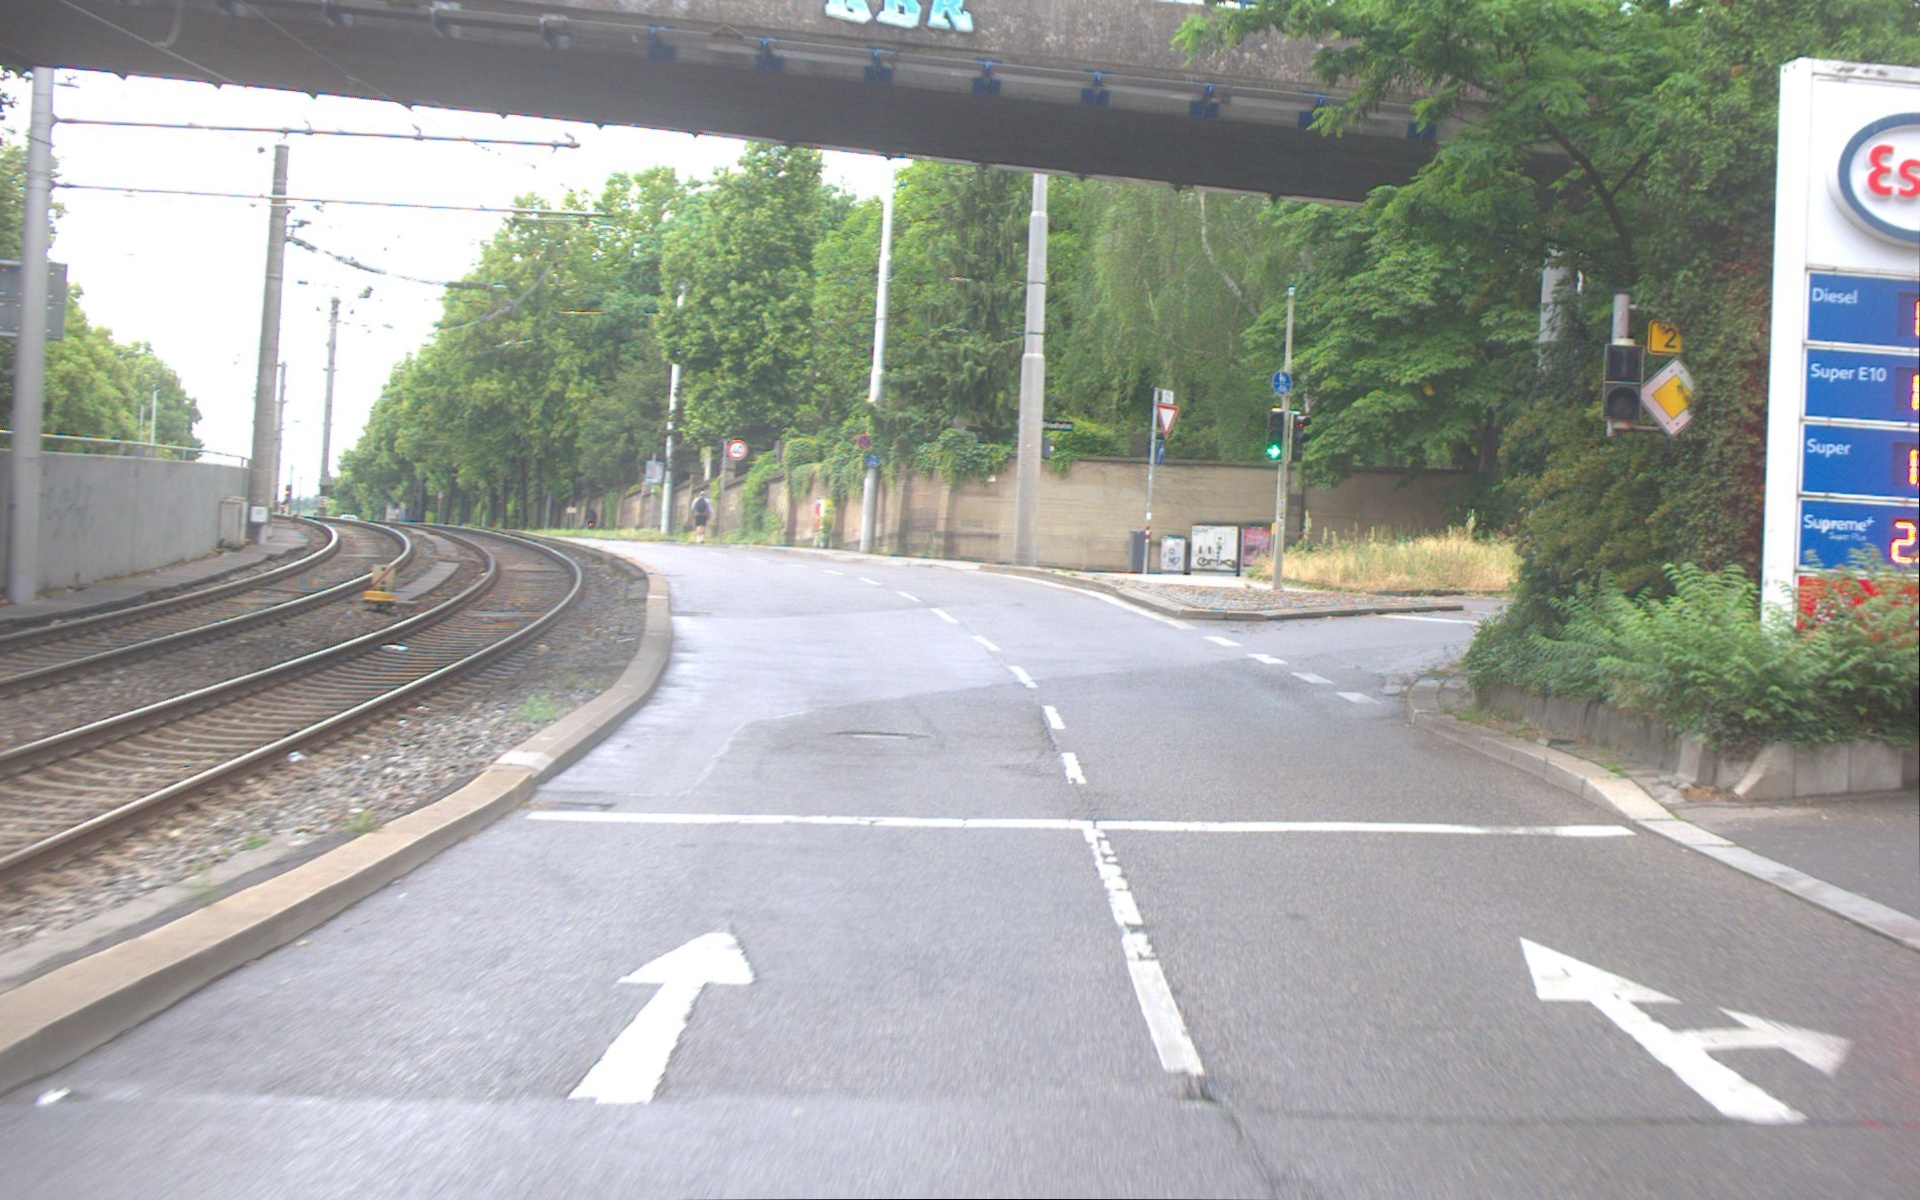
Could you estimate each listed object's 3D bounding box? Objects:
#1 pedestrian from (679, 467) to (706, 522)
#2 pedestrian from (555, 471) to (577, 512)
[{"bbox_3d":[-9.251,-3.653,118.806,0.719,1.843,0.783,4,0,-12],"label":"pedestrian"},{"bbox_3d":[-16.769,-4.622,146.396,0.719,1.681,0.729,4,0,-12],"label":"pedestrian"}]
